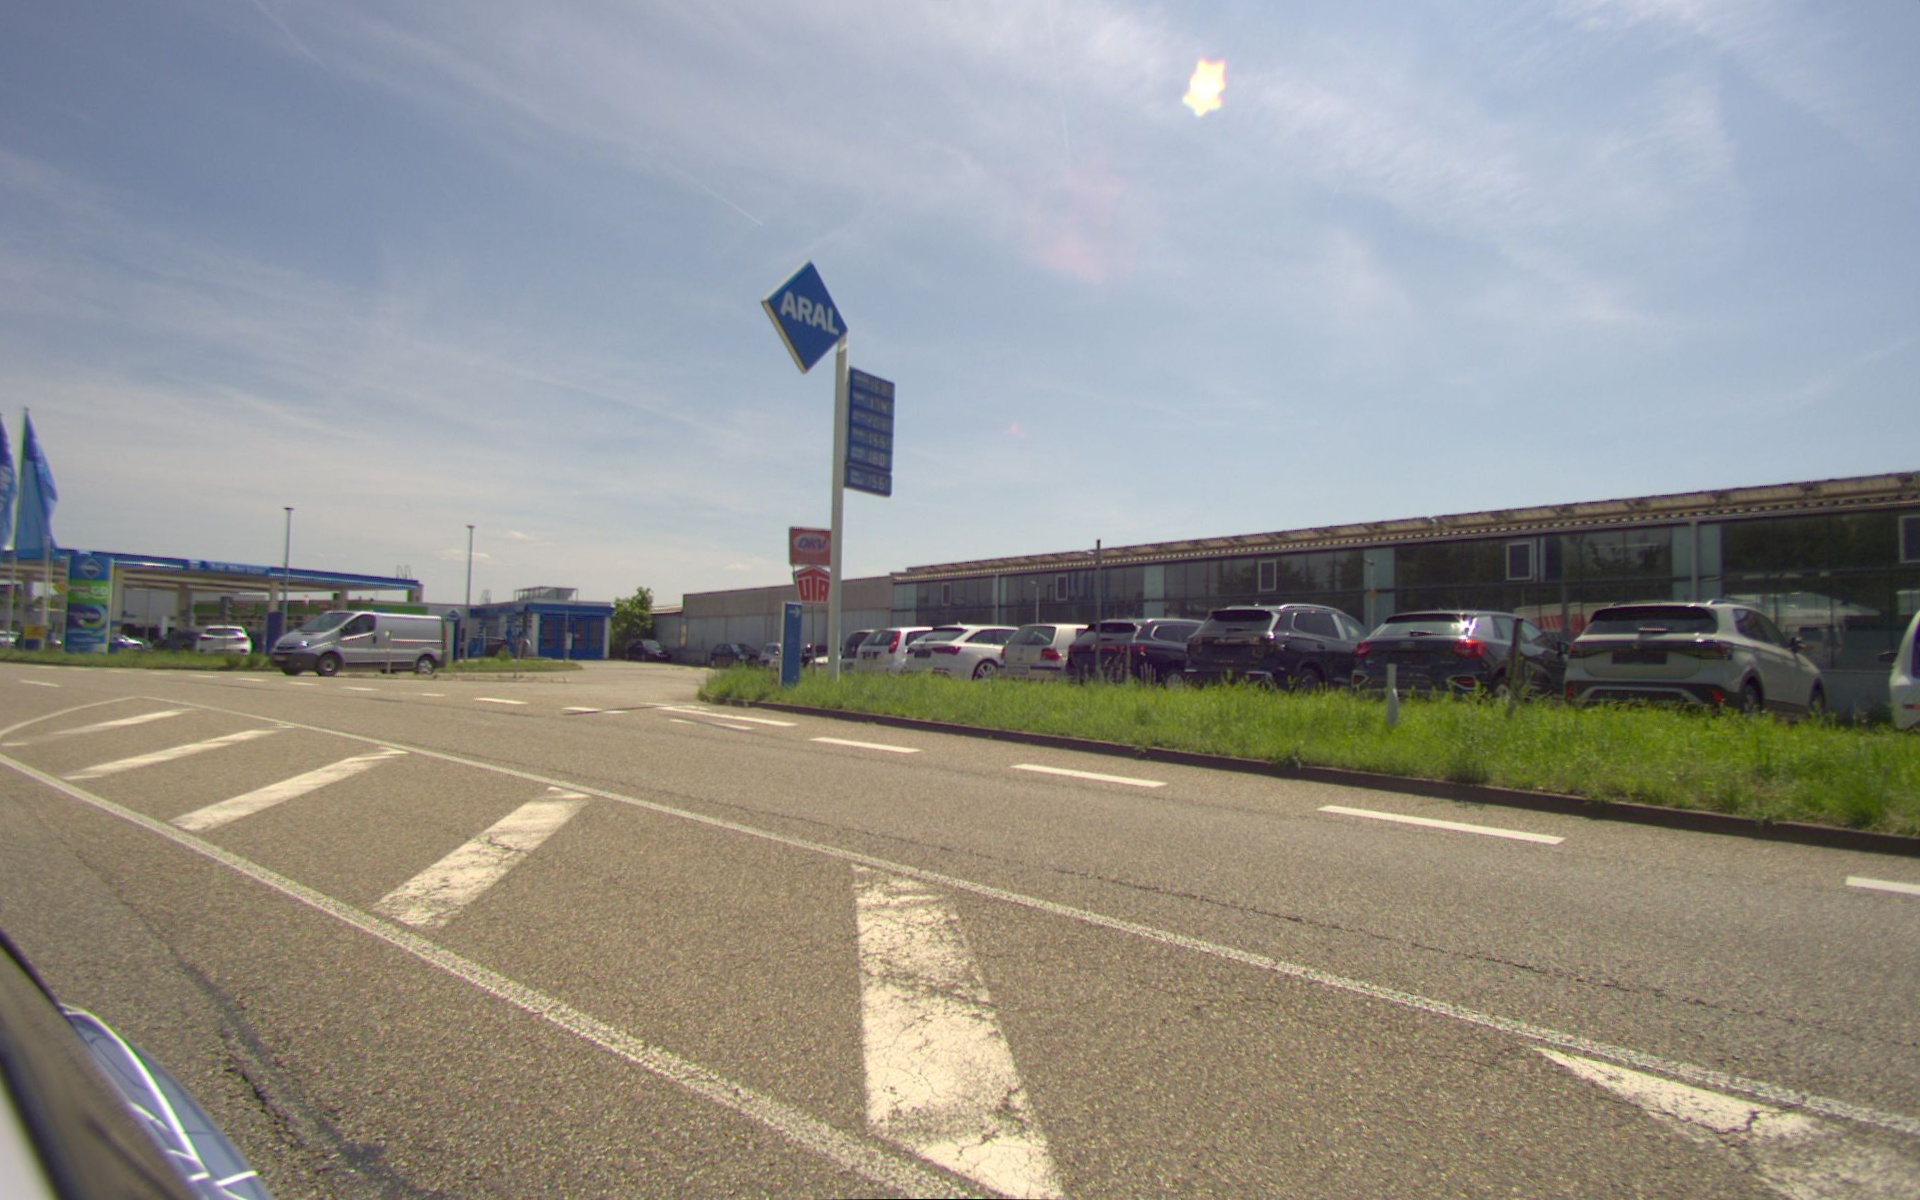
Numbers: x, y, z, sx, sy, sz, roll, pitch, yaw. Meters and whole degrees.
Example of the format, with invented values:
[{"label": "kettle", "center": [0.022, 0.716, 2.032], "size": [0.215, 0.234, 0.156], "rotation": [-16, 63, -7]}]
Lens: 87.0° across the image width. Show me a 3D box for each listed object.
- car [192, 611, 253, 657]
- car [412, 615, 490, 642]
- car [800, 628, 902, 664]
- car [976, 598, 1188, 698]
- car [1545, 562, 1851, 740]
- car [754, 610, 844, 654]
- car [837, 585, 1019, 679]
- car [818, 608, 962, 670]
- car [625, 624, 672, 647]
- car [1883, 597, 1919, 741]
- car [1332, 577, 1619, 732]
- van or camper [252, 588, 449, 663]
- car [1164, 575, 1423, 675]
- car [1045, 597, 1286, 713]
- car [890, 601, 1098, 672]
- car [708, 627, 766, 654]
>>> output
[{"label": "car", "center": [-29.940, 1.346, 41.206], "size": [1.838, 1.725, 4.531], "rotation": [2, -1, -34]}, {"label": "car", "center": [-32.089, 1.788, 63.872], "size": [1.945, 1.619, 3.948], "rotation": [-1, -1, 39]}, {"label": "car", "center": [-4.678, 1.979, 43.676], "size": [3.937, 1.453, 2.003], "rotation": [4, -3, -41]}, {"label": "car", "center": [2.453, 0.897, 19.892], "size": [3.936, 1.763, 1.938], "rotation": [2, -1, -39]}, {"label": "car", "center": [8.856, 0.622, 12.054], "size": [3.936, 1.763, 2.004], "rotation": [4, -4, -39]}, {"label": "car", "center": [-7.622, 1.535, 48.018], "size": [3.937, 2.029, 1.601], "rotation": [2, -3, -40]}, {"label": "car", "center": [-0.708, 0.706, 23.924], "size": [3.938, 2.029, 2.003], "rotation": [0, -1, -41]}, {"label": "car", "center": [-1.757, 1.028, 25.845], "size": [3.400, 1.452, 1.565], "rotation": [4, -4, -42]}, {"label": "car", "center": [-20.486, 2.300, 66.501], "size": [1.731, 1.453, 3.908], "rotation": [1, -2, -37]}, {"label": "car", "center": [10.777, 0.719, 10.151], "size": [3.938, 1.327, 1.836], "rotation": [4, -4, -42]}, {"label": "car", "center": [6.967, 0.742, 13.558], "size": [3.936, 1.763, 2.004], "rotation": [4, -4, -39]}, {"label": "van or camper", "center": [-18.339, 0.830, 30.752], "size": [1.893, 1.919, 4.823], "rotation": [0, -5, 24]}, {"label": "car", "center": [5.223, 0.452, 15.662], "size": [3.936, 1.342, 2.004], "rotation": [4, -4, -39]}, {"label": "car", "center": [3.589, 0.888, 17.403], "size": [3.936, 1.763, 2.004], "rotation": [2, -1, -39]}, {"label": "car", "center": [0.785, 0.777, 21.546], "size": [4.184, 1.369, 2.003], "rotation": [2, -2, -41]}, {"label": "car", "center": [-12.608, 2.247, 57.028], "size": [1.731, 1.453, 3.908], "rotation": [1, -2, -37]}]
